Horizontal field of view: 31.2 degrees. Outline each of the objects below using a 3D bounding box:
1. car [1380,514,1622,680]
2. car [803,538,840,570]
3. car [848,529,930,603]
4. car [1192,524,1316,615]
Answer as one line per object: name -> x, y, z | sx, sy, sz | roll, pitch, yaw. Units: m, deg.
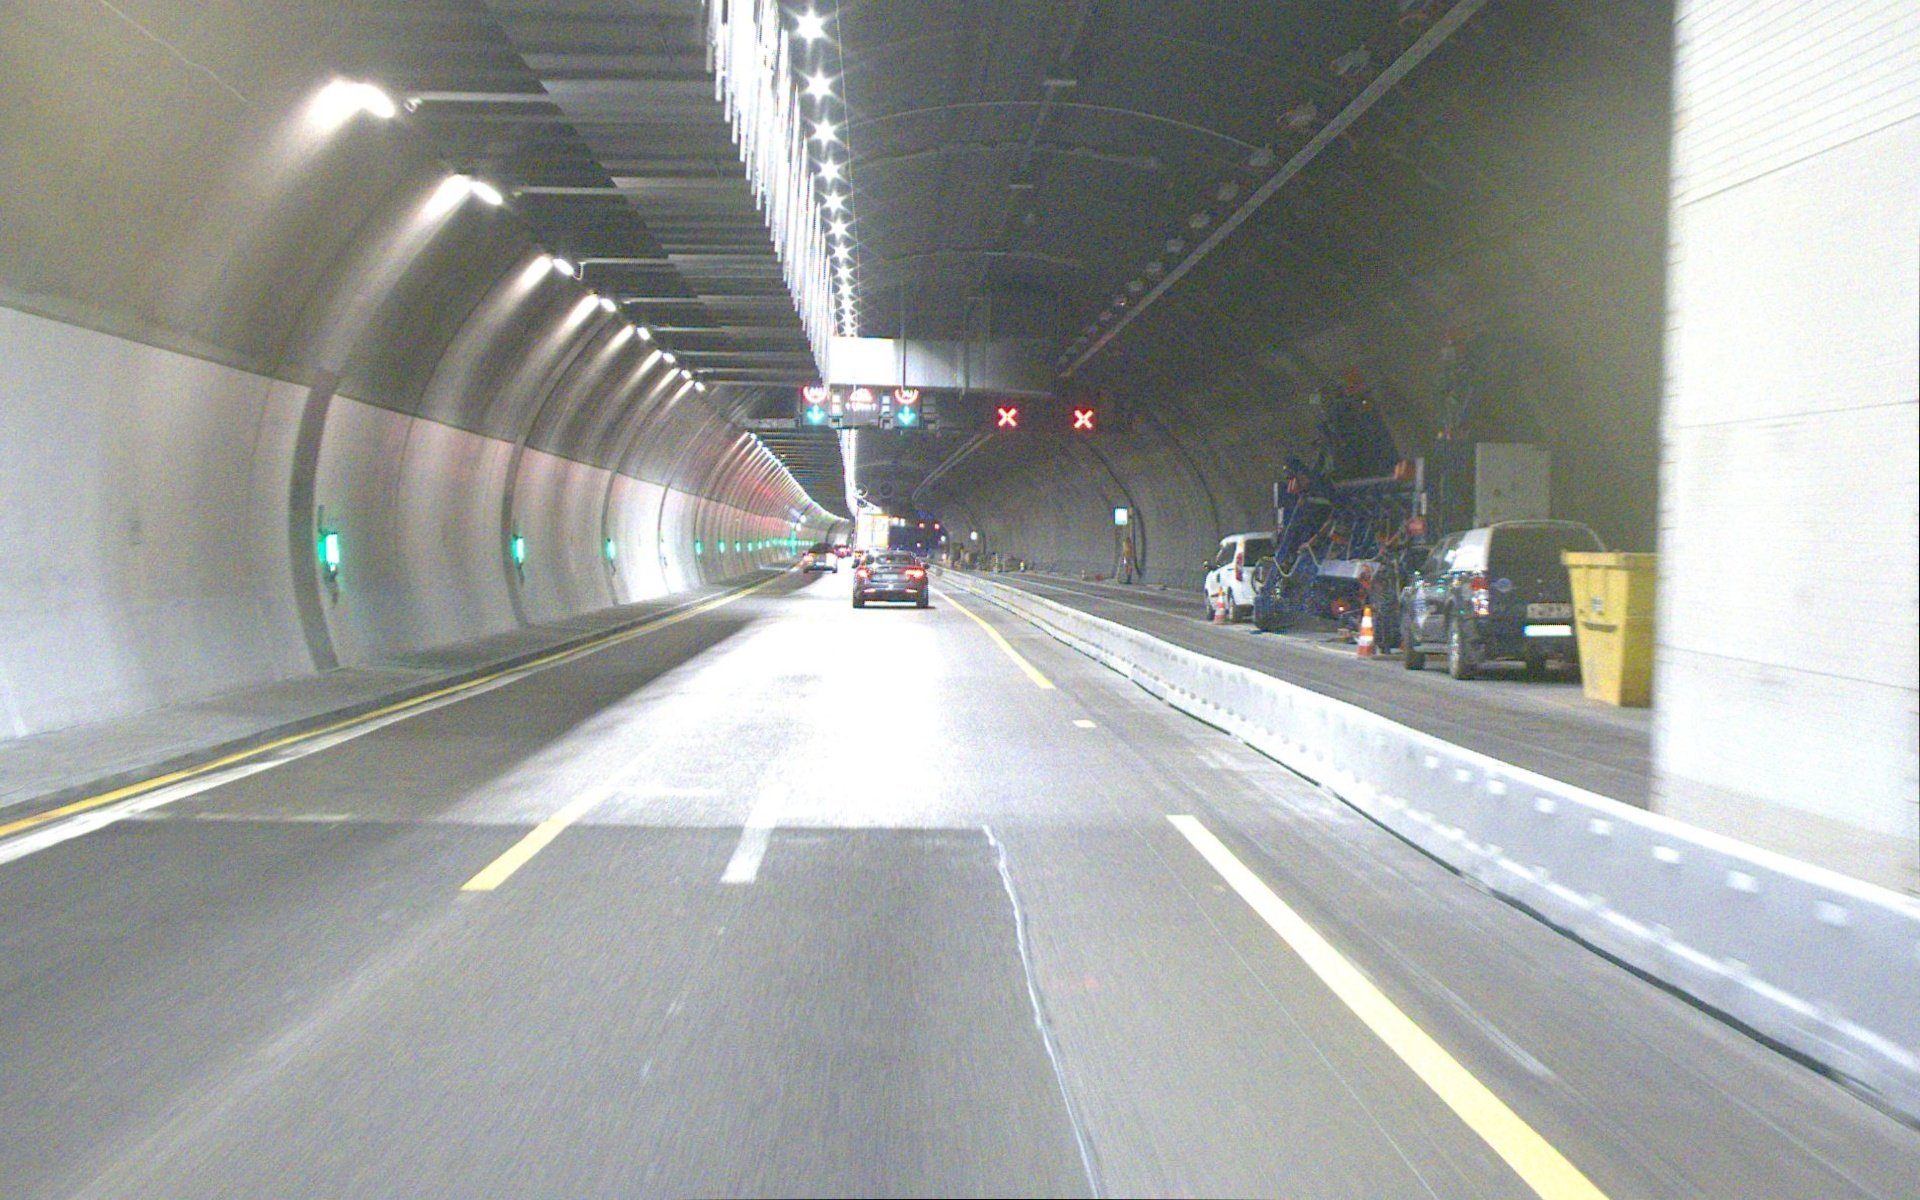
car -> 6.514, -0.091, 41.969 | 1.827, 1.852, 5.442 | 1, 1, -2
car -> -7.400, -2.459, 183.928 | 1.930, 1.681, 4.000 | 0, 1, -1
car -> -1.797, -0.860, 85.851 | 1.946, 1.788, 4.001 | 0, 1, -3
car -> 6.119, -0.659, 71.978 | 1.750, 1.839, 4.647 | 0, 1, -6
